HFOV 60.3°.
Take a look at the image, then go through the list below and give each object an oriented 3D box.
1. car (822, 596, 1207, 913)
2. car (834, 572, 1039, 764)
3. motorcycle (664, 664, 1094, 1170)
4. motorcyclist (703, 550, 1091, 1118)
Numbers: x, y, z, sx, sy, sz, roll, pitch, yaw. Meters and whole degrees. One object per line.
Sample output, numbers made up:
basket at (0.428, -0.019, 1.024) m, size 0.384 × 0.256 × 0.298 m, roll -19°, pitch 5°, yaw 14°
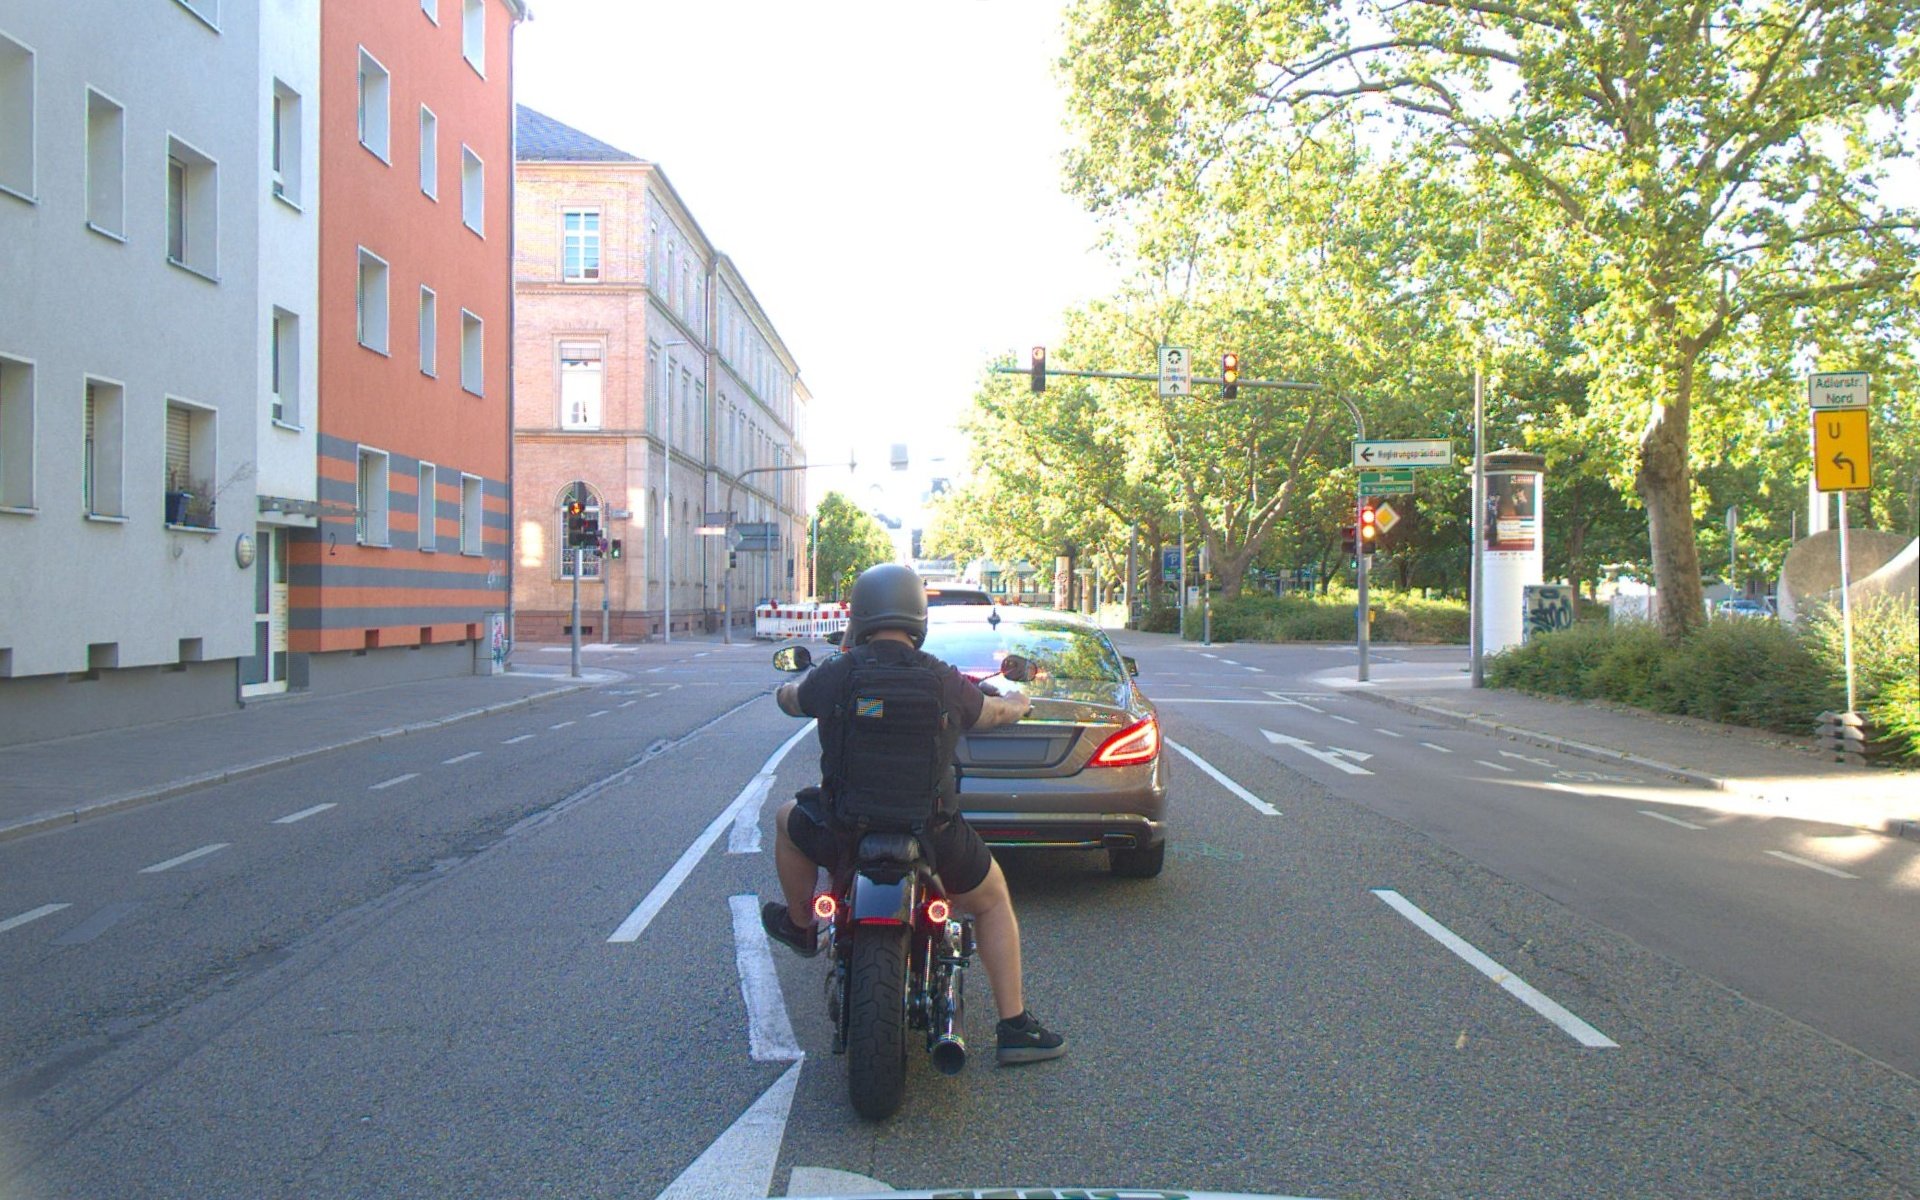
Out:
car at (0.231, 0.734, 9.660) m, size 1.785 × 1.462 × 3.805 m, roll 1°, pitch 0°, yaw -1°
car at (-0.242, 0.626, 16.932) m, size 1.825 × 1.707 × 3.999 m, roll 1°, pitch 0°, yaw -1°
motorcycle at (-0.131, 0.874, 5.488) m, size 1.094 × 1.228 × 2.213 m, roll 1°, pitch 0°, yaw 5°
motorcyclist at (-0.144, 0.664, 5.268) m, size 1.076 × 1.593 × 1.072 m, roll 1°, pitch 0°, yaw 5°
